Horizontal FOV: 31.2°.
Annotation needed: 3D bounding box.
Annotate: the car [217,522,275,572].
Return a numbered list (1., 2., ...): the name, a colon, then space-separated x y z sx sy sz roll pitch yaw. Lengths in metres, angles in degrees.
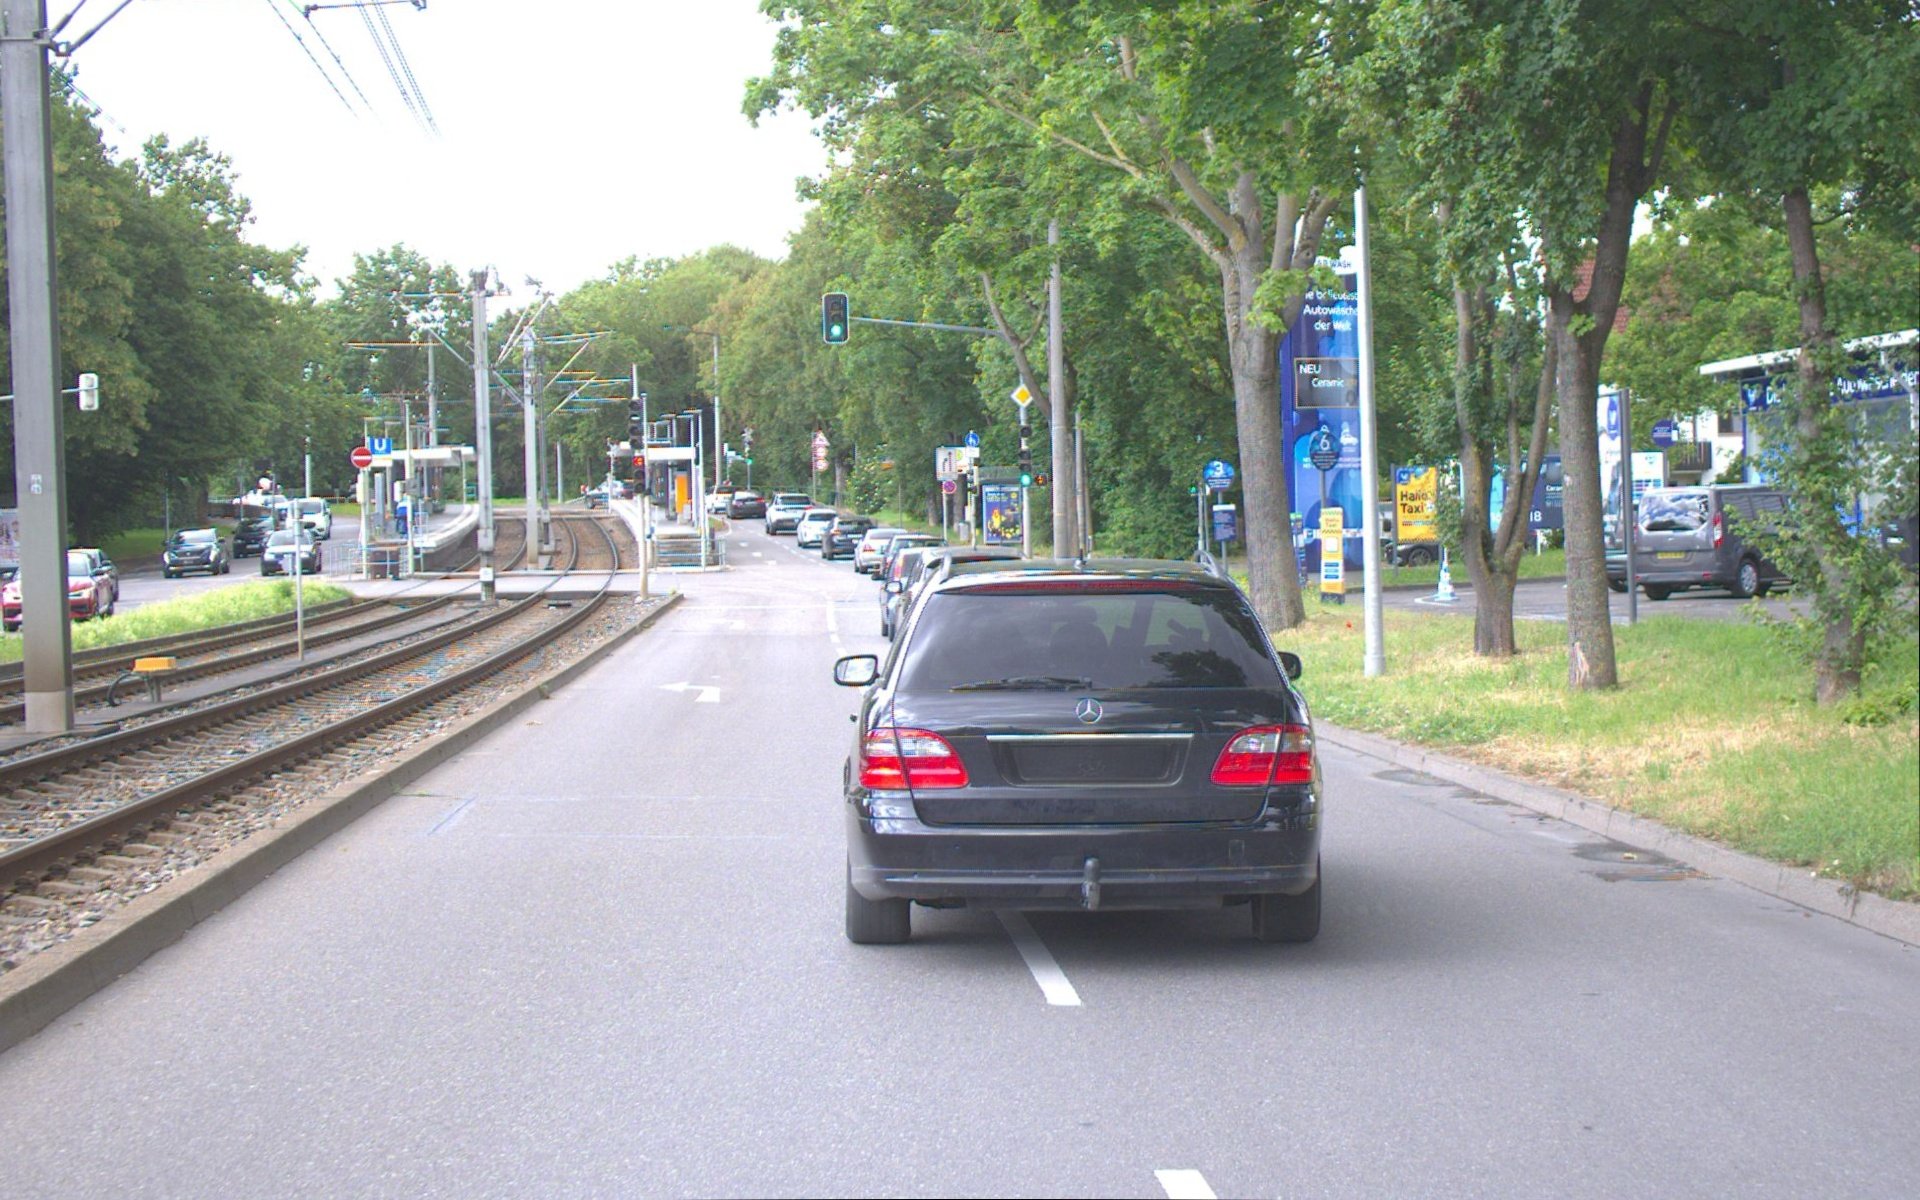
1. car: -29.754 -2.214 143.303 1.993 2.007 4.108 -2 1 -7

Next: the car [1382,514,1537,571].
1. car: 14.053 -1.615 96.849 4.152 1.521 1.704 -1 1 3

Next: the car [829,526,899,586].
1. car: -3.287 -1.495 116.881 1.993 1.960 4.001 1 1 -7

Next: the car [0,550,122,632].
1. car: -18.766 -0.206 71.767 1.783 1.576 4.483 -3 1 -6

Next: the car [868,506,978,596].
1. car: -0.861 -1.092 76.456 1.993 1.911 4.001 1 1 -7

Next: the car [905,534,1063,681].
1. car: 0.253 0.056 41.246 1.782 1.642 4.000 1 1 -1

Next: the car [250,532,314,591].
1. car: -21.943 -1.263 111.376 1.696 1.854 4.001 1 1 -7

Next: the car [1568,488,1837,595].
1. car: 12.886 -1.029 59.653 4.198 1.691 1.841 -3 2 -21

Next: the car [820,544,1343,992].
1. car: 0.385 0.553 13.870 1.781 1.520 4.000 1 1 -1

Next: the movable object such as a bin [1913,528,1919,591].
1. movable object such as a bin: 15.388 -0.633 52.601 1.158 0.973 1.188 -2 1 -7

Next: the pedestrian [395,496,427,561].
1. pedestrian: -18.645 -2.431 116.770 0.969 2.178 0.976 -1 1 -5

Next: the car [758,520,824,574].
1. car: -6.568 -2.056 133.258 1.993 2.007 4.001 1 1 -11

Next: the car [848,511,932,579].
1. car: -2.039 -1.576 98.930 1.993 1.886 4.001 1 1 -7

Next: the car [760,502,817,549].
1. car: -7.568 -3.257 151.263 1.993 2.007 4.001 1 1 -10

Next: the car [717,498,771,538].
1. car: -11.147 -4.211 177.161 1.993 2.007 4.001 1 1 -15

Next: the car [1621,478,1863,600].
1. car: 12.679 -1.003 55.605 1.750 1.815 4.373 -1 2 44

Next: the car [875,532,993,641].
1. car: -0.412 -0.230 54.605 1.782 1.642 4.000 1 1 -1

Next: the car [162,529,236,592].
1. car: -25.474 -1.346 115.159 1.993 2.007 4.248 -2 1 -7

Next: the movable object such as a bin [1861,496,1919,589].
1. movable object such as a bin: 15.422 -0.945 55.614 1.158 1.469 1.388 -2 1 -7
